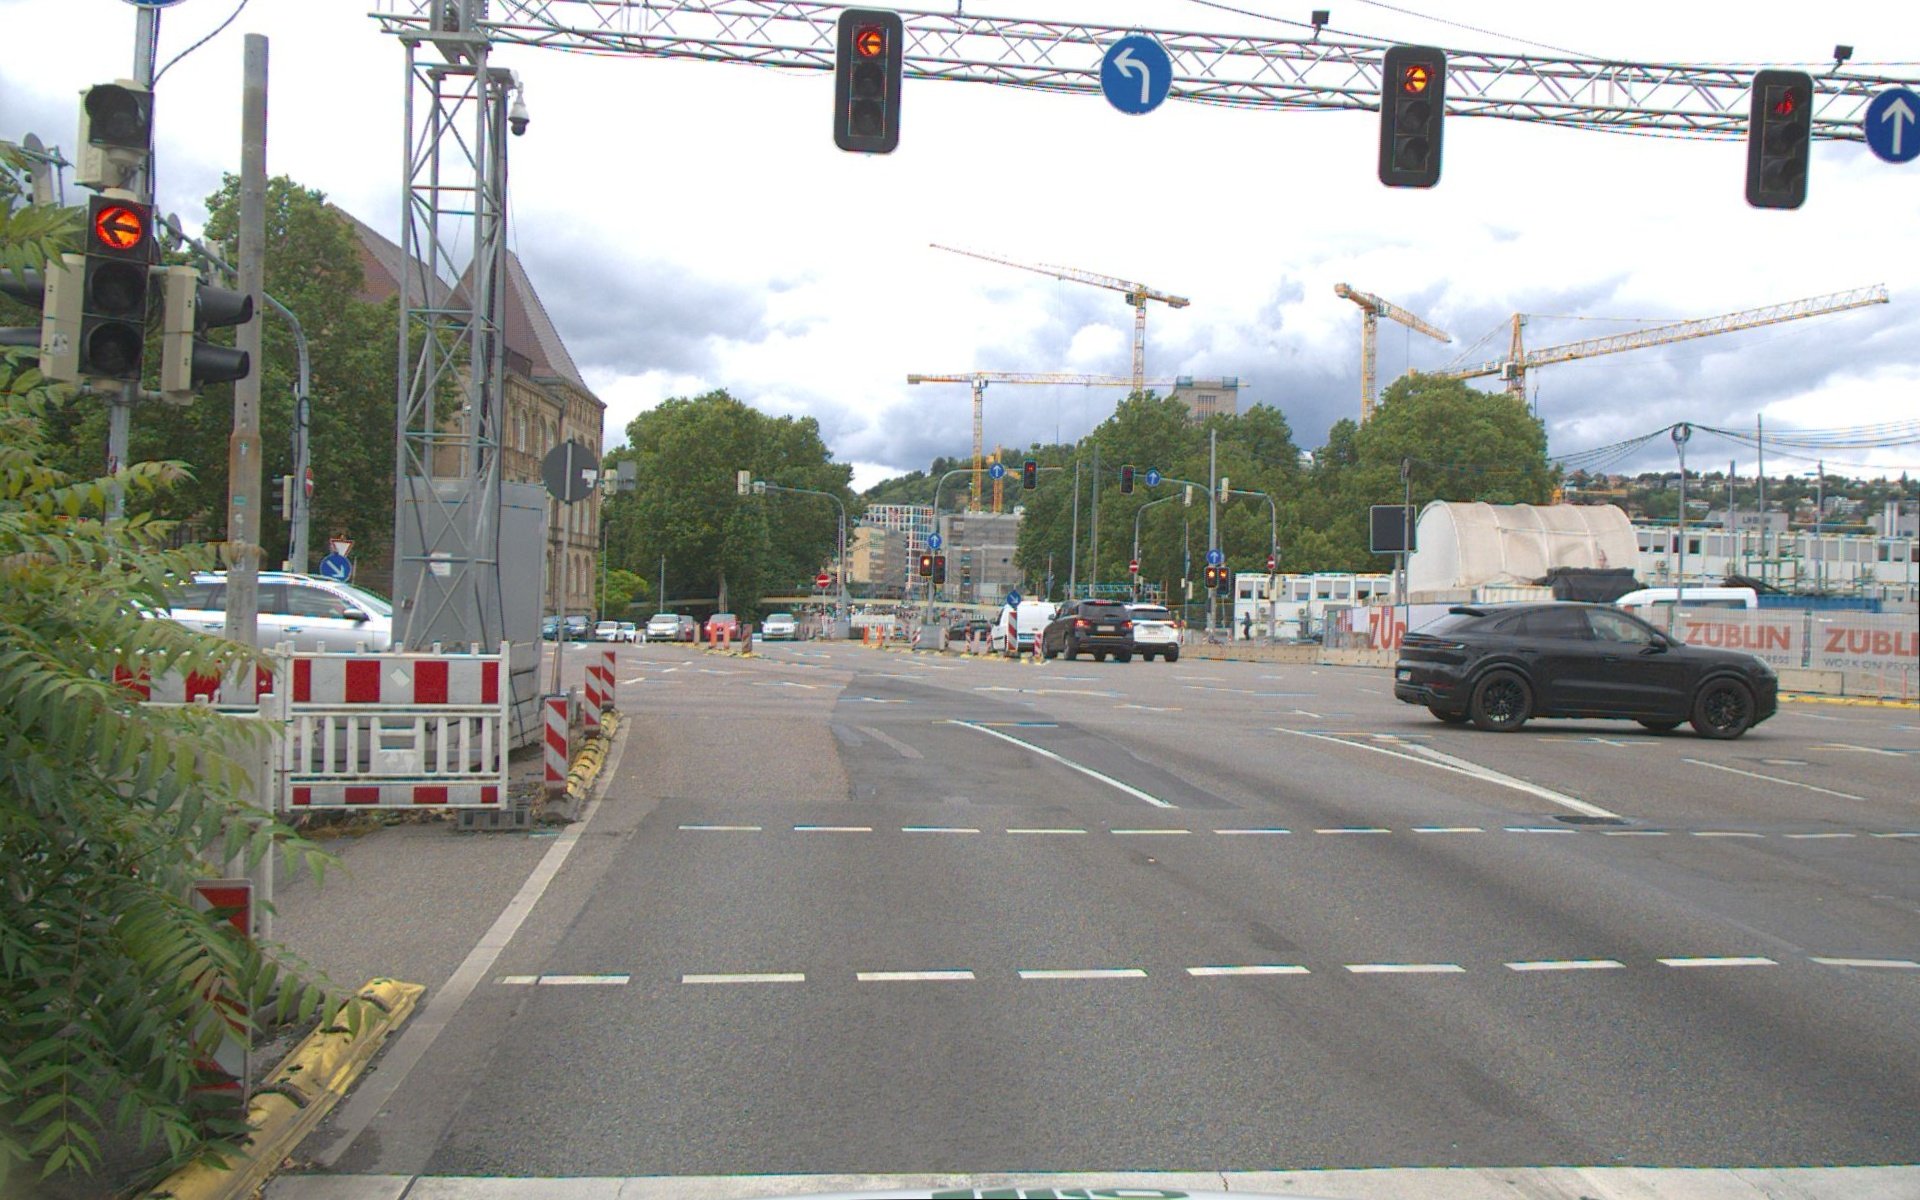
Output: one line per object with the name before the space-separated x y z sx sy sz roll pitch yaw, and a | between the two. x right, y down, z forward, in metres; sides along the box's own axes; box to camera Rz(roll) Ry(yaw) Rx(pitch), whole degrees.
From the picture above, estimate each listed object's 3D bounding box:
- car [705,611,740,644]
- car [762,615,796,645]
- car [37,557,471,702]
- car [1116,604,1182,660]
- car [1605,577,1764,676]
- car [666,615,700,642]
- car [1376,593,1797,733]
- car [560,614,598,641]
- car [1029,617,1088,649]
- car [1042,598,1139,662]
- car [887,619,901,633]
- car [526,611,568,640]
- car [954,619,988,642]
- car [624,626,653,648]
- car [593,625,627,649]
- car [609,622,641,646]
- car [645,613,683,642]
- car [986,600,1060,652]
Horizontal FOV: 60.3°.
car | -12.126 1.383 84.512 1.644 1.608 3.677 1 0 -7
car | -9.293 1.526 84.845 1.644 1.422 3.677 1 0 -7
car | -8.644 0.364 20.556 4.617 1.653 1.680 1 0 -4
car | 6.041 0.999 53.124 1.642 1.732 3.374 1 0 -1
car | 20.823 0.747 47.678 3.902 2.708 1.683 1 0 13
car | -15.299 1.553 91.532 1.644 1.422 3.677 1 0 -7
car | 8.026 0.790 21.533 4.709 1.653 2.020 1 0 0
car | -21.286 1.528 92.569 1.644 1.422 3.677 1 0 -7
car | 4.510 1.511 76.034 1.650 1.422 3.070 1 0 -19
car | 3.778 0.843 48.525 1.799 1.776 4.245 1 0 -10
car | -9.912 3.859 247.701 1.954 2.049 3.997 1 0 -3
car | -21.480 1.322 86.138 1.644 1.422 3.677 1 0 -7
car | 0.676 1.942 105.471 1.644 1.422 3.677 1 0 -7
car | -22.565 2.597 116.189 1.644 1.422 3.677 1 0 -7
car | -21.361 2.246 101.052 1.644 1.422 3.677 1 0 -7
car | -21.809 2.235 107.704 1.644 1.423 3.677 1 -3 -6
car | -15.258 1.426 85.373 1.644 1.422 3.677 1 0 -7
car | 2.080 0.853 55.546 1.783 1.653 3.993 1 0 -8
